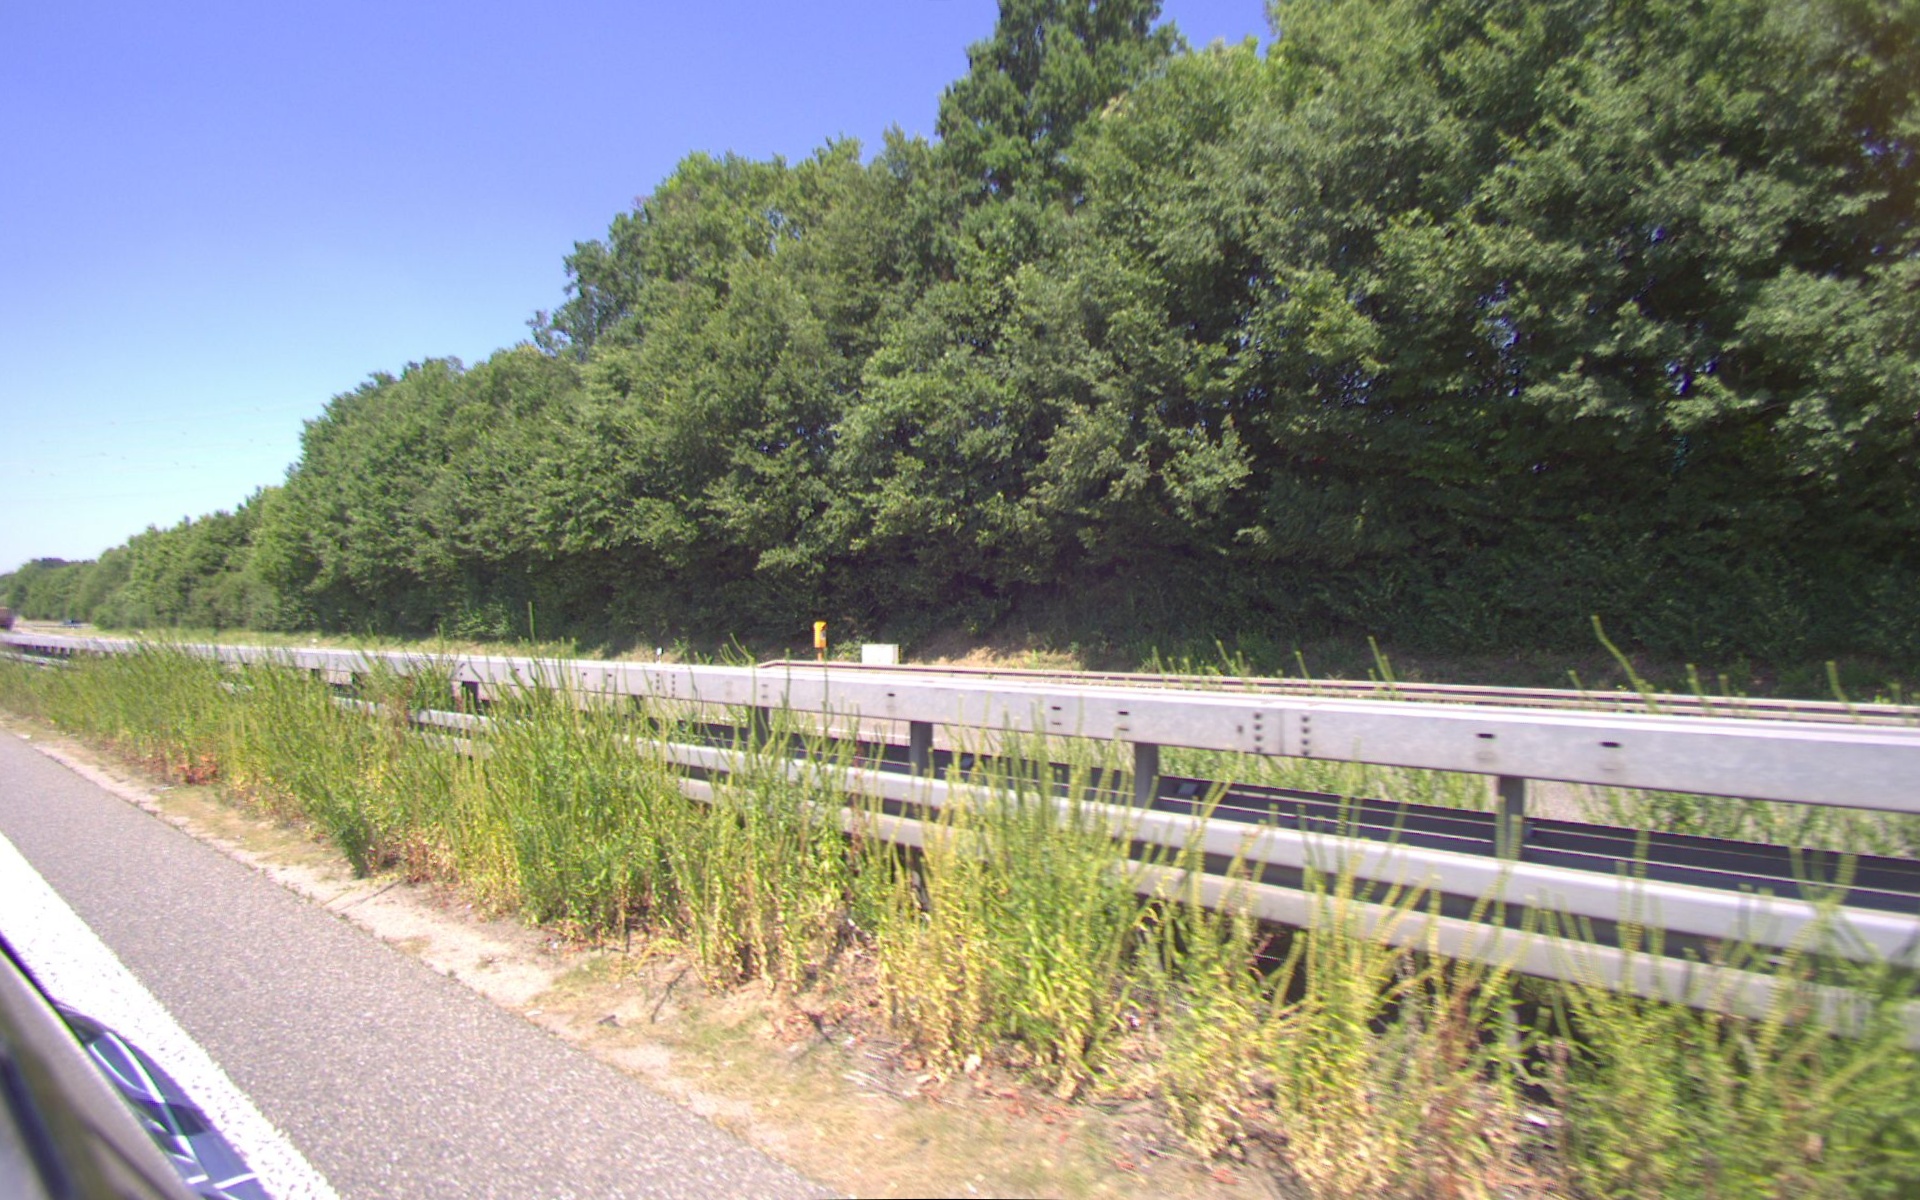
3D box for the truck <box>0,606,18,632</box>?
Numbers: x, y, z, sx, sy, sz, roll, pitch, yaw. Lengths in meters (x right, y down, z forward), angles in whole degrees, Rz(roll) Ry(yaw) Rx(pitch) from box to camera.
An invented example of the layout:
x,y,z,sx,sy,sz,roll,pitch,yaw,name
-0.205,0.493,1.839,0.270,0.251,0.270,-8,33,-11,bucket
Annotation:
x,y,z,sx,sy,sz,roll,pitch,yaw,name
-144.493,2.777,152.403,11.152,3.766,2.754,0,0,41,truck
